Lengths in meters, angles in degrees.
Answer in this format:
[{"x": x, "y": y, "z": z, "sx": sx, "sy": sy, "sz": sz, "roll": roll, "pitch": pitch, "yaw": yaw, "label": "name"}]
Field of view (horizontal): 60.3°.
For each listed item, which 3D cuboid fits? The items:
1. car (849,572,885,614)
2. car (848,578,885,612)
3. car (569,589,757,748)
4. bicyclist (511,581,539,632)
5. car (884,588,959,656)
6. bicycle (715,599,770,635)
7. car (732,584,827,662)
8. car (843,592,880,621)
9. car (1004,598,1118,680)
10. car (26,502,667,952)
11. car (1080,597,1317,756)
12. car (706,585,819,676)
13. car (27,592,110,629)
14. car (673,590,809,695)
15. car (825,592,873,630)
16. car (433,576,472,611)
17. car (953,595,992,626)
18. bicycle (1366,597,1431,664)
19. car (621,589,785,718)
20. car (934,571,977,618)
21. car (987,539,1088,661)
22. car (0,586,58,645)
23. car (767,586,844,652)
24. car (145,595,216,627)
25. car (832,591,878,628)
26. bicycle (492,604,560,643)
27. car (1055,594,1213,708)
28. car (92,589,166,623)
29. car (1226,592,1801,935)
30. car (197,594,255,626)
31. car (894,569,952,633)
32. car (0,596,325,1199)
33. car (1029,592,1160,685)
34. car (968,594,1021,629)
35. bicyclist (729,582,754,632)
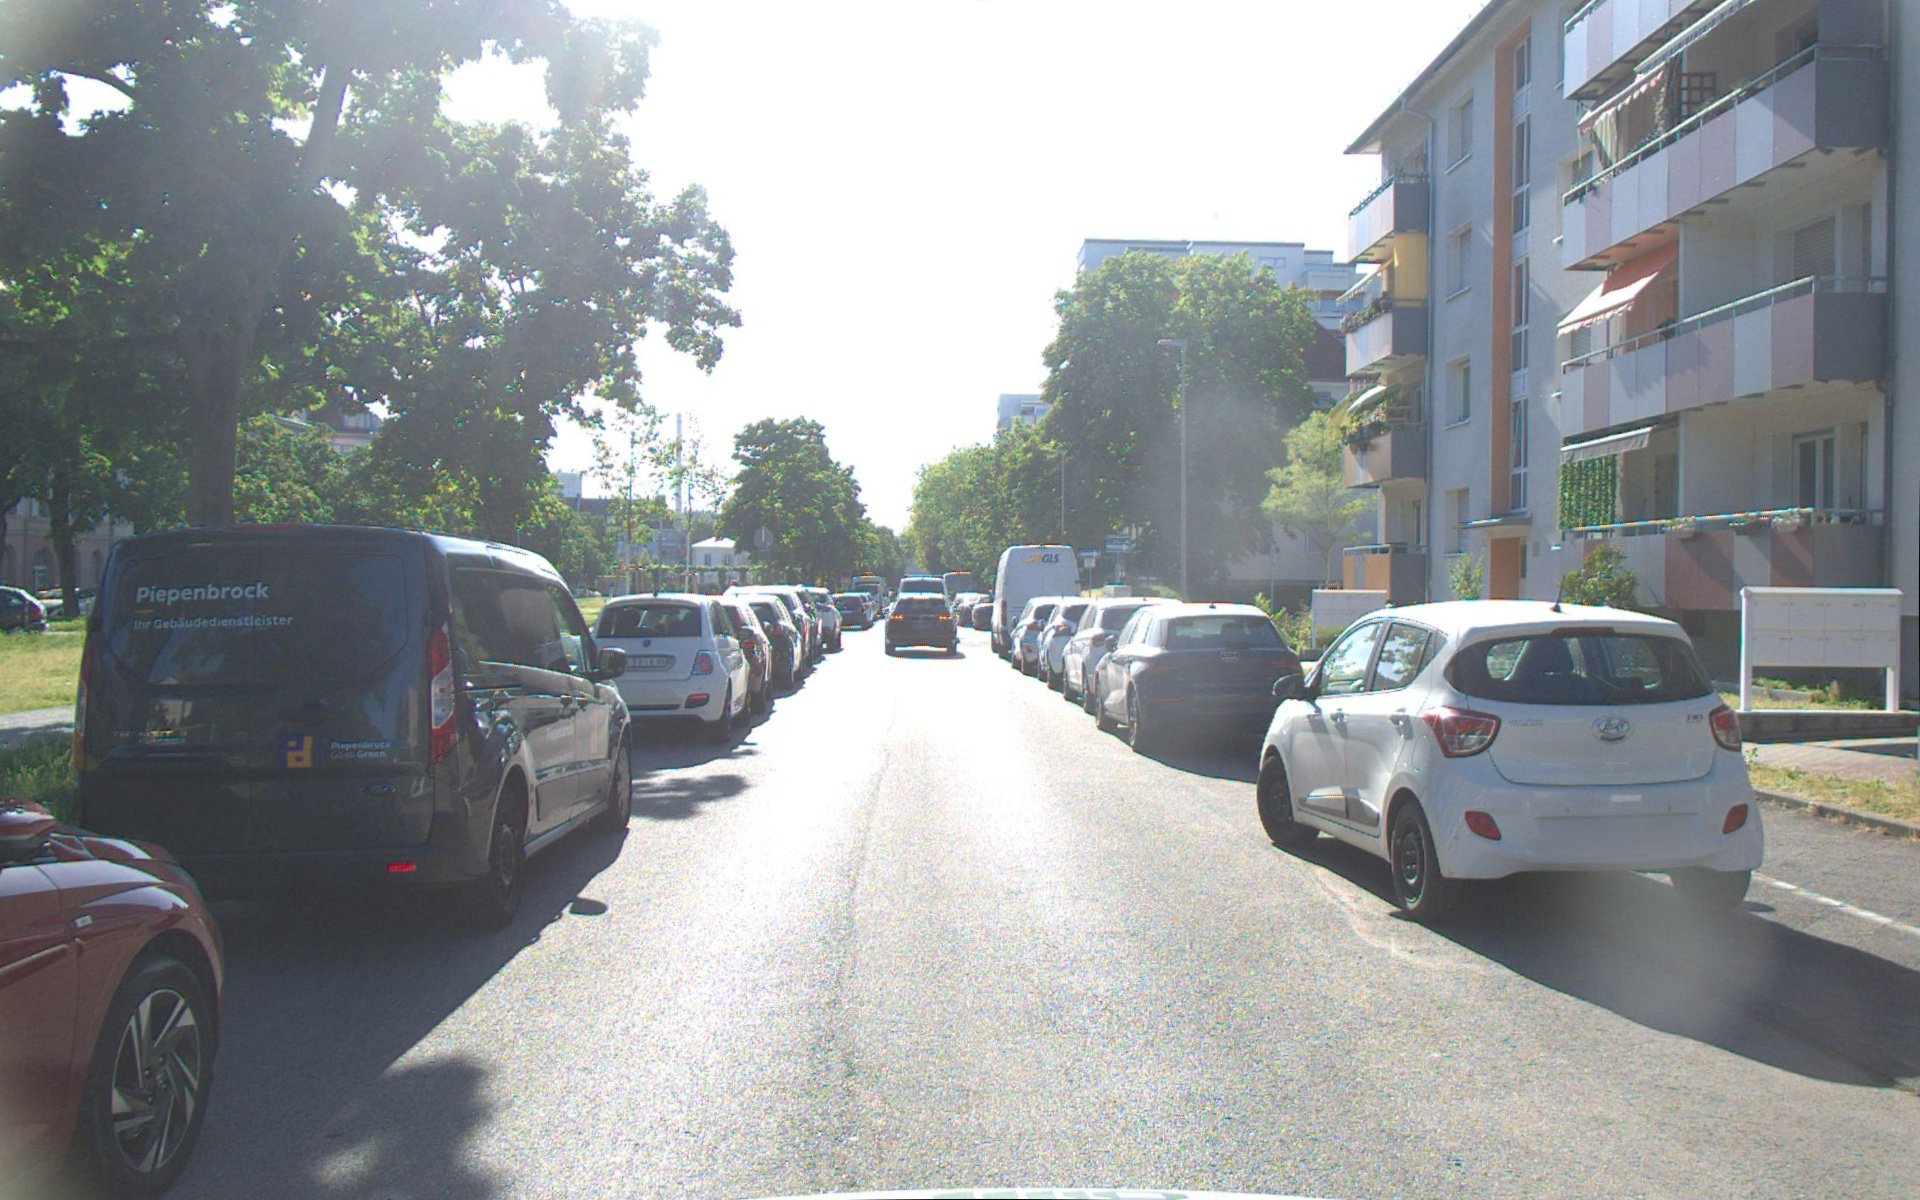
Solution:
[{"x": -5.867, "y": -0.449, "z": 104.374, "sx": 2.056, "sy": 2.540, "sz": 4.126, "roll": 0, "pitch": 0, "yaw": -1, "label": "car"}, {"x": -5.507, "y": -0.302, "z": 97.974, "sx": 2.056, "sy": 1.976, "sz": 4.125, "roll": 0, "pitch": 0, "yaw": -2, "label": "car"}, {"x": -3.127, "y": 0.658, "z": 18.014, "sx": 1.555, "sy": 1.518, "sz": 3.683, "roll": -1, "pitch": 0, "yaw": -3, "label": "car"}, {"x": -14.576, "y": 0.213, "z": 55.444, "sx": 0.864, "sy": 1.720, "sz": 0.628, "roll": 0, "pitch": 0, "yaw": -22, "label": "bicyclist"}, {"x": -0.923, "y": 0.507, "z": 41.067, "sx": 1.743, "sy": 1.558, "sz": 3.999, "roll": 1, "pitch": 0, "yaw": -1, "label": "car"}, {"x": -7.078, "y": 0.562, "z": 53.804, "sx": 1.726, "sy": 1.147, "sz": 0.662, "roll": 0, "pitch": -1, "yaw": -5, "label": "bicycle"}, {"x": -4.158, "y": 0.491, "z": 38.715, "sx": 1.805, "sy": 1.667, "sz": 4.713, "roll": -1, "pitch": 0, "yaw": -2, "label": "car"}, {"x": -5.294, "y": 0.345, "z": 89.512, "sx": 1.796, "sy": 1.526, "sz": 4.126, "roll": 0, "pitch": 0, "yaw": -1, "label": "car"}, {"x": 1.971, "y": 0.740, "z": 33.449, "sx": 1.812, "sy": 1.491, "sz": 4.199, "roll": 1, "pitch": 0, "yaw": -3, "label": "car"}, {"x": -2.925, "y": 0.529, "z": 9.212, "sx": 1.827, "sy": 1.816, "sz": 4.989, "roll": 0, "pitch": 0, "yaw": -2, "label": "car"}, {"x": 2.435, "y": 0.718, "z": 17.967, "sx": 1.665, "sy": 1.460, "sz": 4.468, "roll": -1, "pitch": 0, "yaw": -3, "label": "car"}, {"x": -3.814, "y": 0.546, "z": 32.638, "sx": 1.783, "sy": 1.638, "sz": 4.737, "roll": -1, "pitch": 0, "yaw": -2, "label": "car"}, {"x": -39.337, "y": 0.441, "z": 73.084, "sx": 1.661, "sy": 1.553, "sz": 4.077, "roll": 0, "pitch": 0, "yaw": -4, "label": "car"}, {"x": -3.562, "y": 0.636, "z": 27.615, "sx": 1.836, "sy": 1.546, "sz": 4.468, "roll": -2, "pitch": 0, "yaw": -3, "label": "car"}, {"x": -4.493, "y": 0.452, "z": 67.285, "sx": 1.712, "sy": 1.449, "sz": 3.915, "roll": -2, "pitch": 0, "yaw": -1, "label": "car"}, {"x": -41.959, "y": -0.563, "z": 136.894, "sx": 1.878, "sy": 2.792, "sz": 5.620, "roll": 0, "pitch": 0, "yaw": -4, "label": "car"}, {"x": 0.558, "y": 0.485, "z": 77.152, "sx": 1.743, "sy": 1.395, "sz": 4.126, "roll": 0, "pitch": 0, "yaw": -1, "label": "car"}, {"x": 8.096, "y": 0.564, "z": 30.630, "sx": 0.584, "sy": 1.197, "sz": 2.012, "roll": 1, "pitch": -1, "yaw": -3, "label": "bicycle"}, {"x": -3.373, "y": 0.637, "z": 22.450, "sx": 1.720, "sy": 1.518, "sz": 4.665, "roll": -1, "pitch": 0, "yaw": -3, "label": "car"}, {"x": -0.291, "y": -0.329, "z": 98.673, "sx": 2.120, "sy": 2.736, "sz": 5.411, "roll": 0, "pitch": 0, "yaw": -5, "label": "car"}, {"x": 1.832, "y": -0.010, "z": 41.416, "sx": 2.099, "sy": 2.760, "sz": 6.840, "roll": -1, "pitch": 0, "yaw": -1, "label": "car"}, {"x": -27.301, "y": 0.412, "z": 45.455, "sx": 4.281, "sy": 1.604, "sz": 1.913, "roll": 0, "pitch": 0, "yaw": -27, "label": "car"}, {"x": -4.158, "y": 0.490, "z": 45.168, "sx": 1.720, "sy": 1.676, "sz": 4.286, "roll": -1, "pitch": 0, "yaw": -1, "label": "car"}, {"x": -39.818, "y": 0.539, "z": 84.594, "sx": 1.722, "sy": 1.576, "sz": 4.524, "roll": 0, "pitch": 0, "yaw": -4, "label": "car"}, {"x": -4.524, "y": 0.421, "z": 71.806, "sx": 1.741, "sy": 1.521, "sz": 3.874, "roll": -2, "pitch": 0, "yaw": -1, "label": "car"}, {"x": -14.551, "y": 0.771, "z": 55.451, "sx": 2.117, "sy": 1.280, "sz": 0.710, "roll": 0, "pitch": 0, "yaw": -22, "label": "bicycle"}, {"x": 2.358, "y": 0.651, "z": 23.397, "sx": 1.686, "sy": 1.460, "sz": 4.151, "roll": 0, "pitch": 0, "yaw": -2, "label": "car"}, {"x": -39.346, "y": 0.258, "z": 78.432, "sx": 1.599, "sy": 1.576, "sz": 4.351, "roll": 0, "pitch": 0, "yaw": -4, "label": "car"}, {"x": 2.824, "y": 0.722, "z": 9.397, "sx": 1.714, "sy": 1.525, "sz": 3.857, "roll": 0, "pitch": 0, "yaw": -5, "label": "car"}, {"x": -39.986, "y": 0.520, "z": 90.143, "sx": 1.599, "sy": 1.716, "sz": 4.077, "roll": 0, "pitch": 0, "yaw": -4, "label": "car"}, {"x": -1.213, "y": 0.012, "z": 55.416, "sx": 1.856, "sy": 2.026, "sz": 4.009, "roll": -1, "pitch": 0, "yaw": -1, "label": "car"}, {"x": -2.718, "y": 0.722, "z": 3.129, "sx": 1.507, "sy": 1.453, "sz": 4.086, "roll": 0, "pitch": 0, "yaw": -1, "label": "car"}, {"x": 2.267, "y": 0.615, "z": 28.772, "sx": 1.840, "sy": 1.501, "sz": 4.139, "roll": 0, "pitch": 0, "yaw": -2, "label": "car"}, {"x": 1.468, "y": 0.460, "z": 71.227, "sx": 2.082, "sy": 1.361, "sz": 4.505, "roll": -2, "pitch": 0, "yaw": -1, "label": "car"}, {"x": -7.110, "y": 0.229, "z": 53.797, "sx": 0.773, "sy": 1.624, "sz": 0.695, "roll": 0, "pitch": 0, "yaw": -5, "label": "bicyclist"}]
